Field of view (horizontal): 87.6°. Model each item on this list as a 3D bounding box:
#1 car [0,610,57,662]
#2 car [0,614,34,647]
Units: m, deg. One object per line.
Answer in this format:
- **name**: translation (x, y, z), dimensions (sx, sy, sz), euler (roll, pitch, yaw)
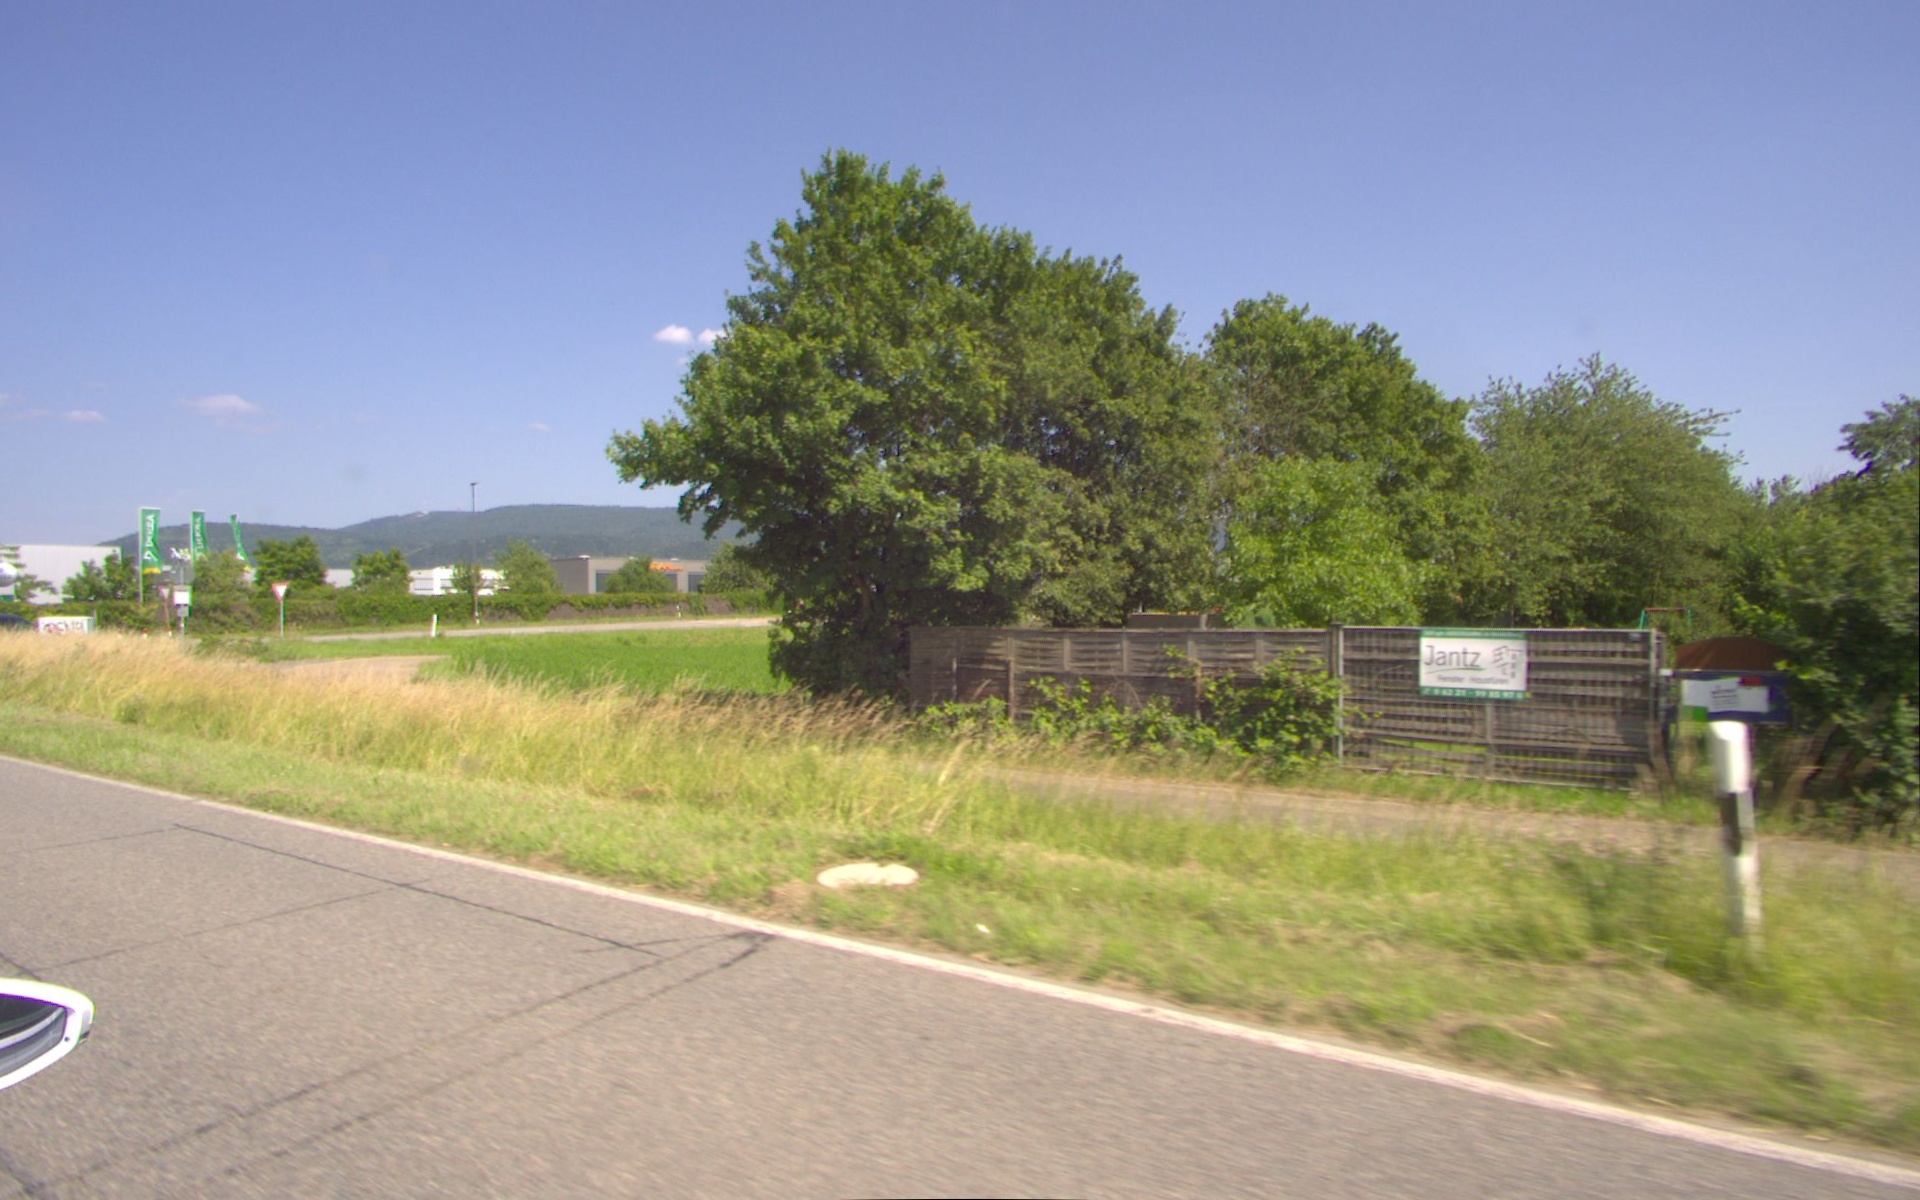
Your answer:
- **car**: translation (-31.676, 1.149, 32.686), dimensions (1.968, 1.637, 4.325), euler (1, -1, -23)
- **car**: translation (-41.054, 1.285, 41.334), dimensions (1.784, 1.344, 3.970), euler (0, 0, 39)
